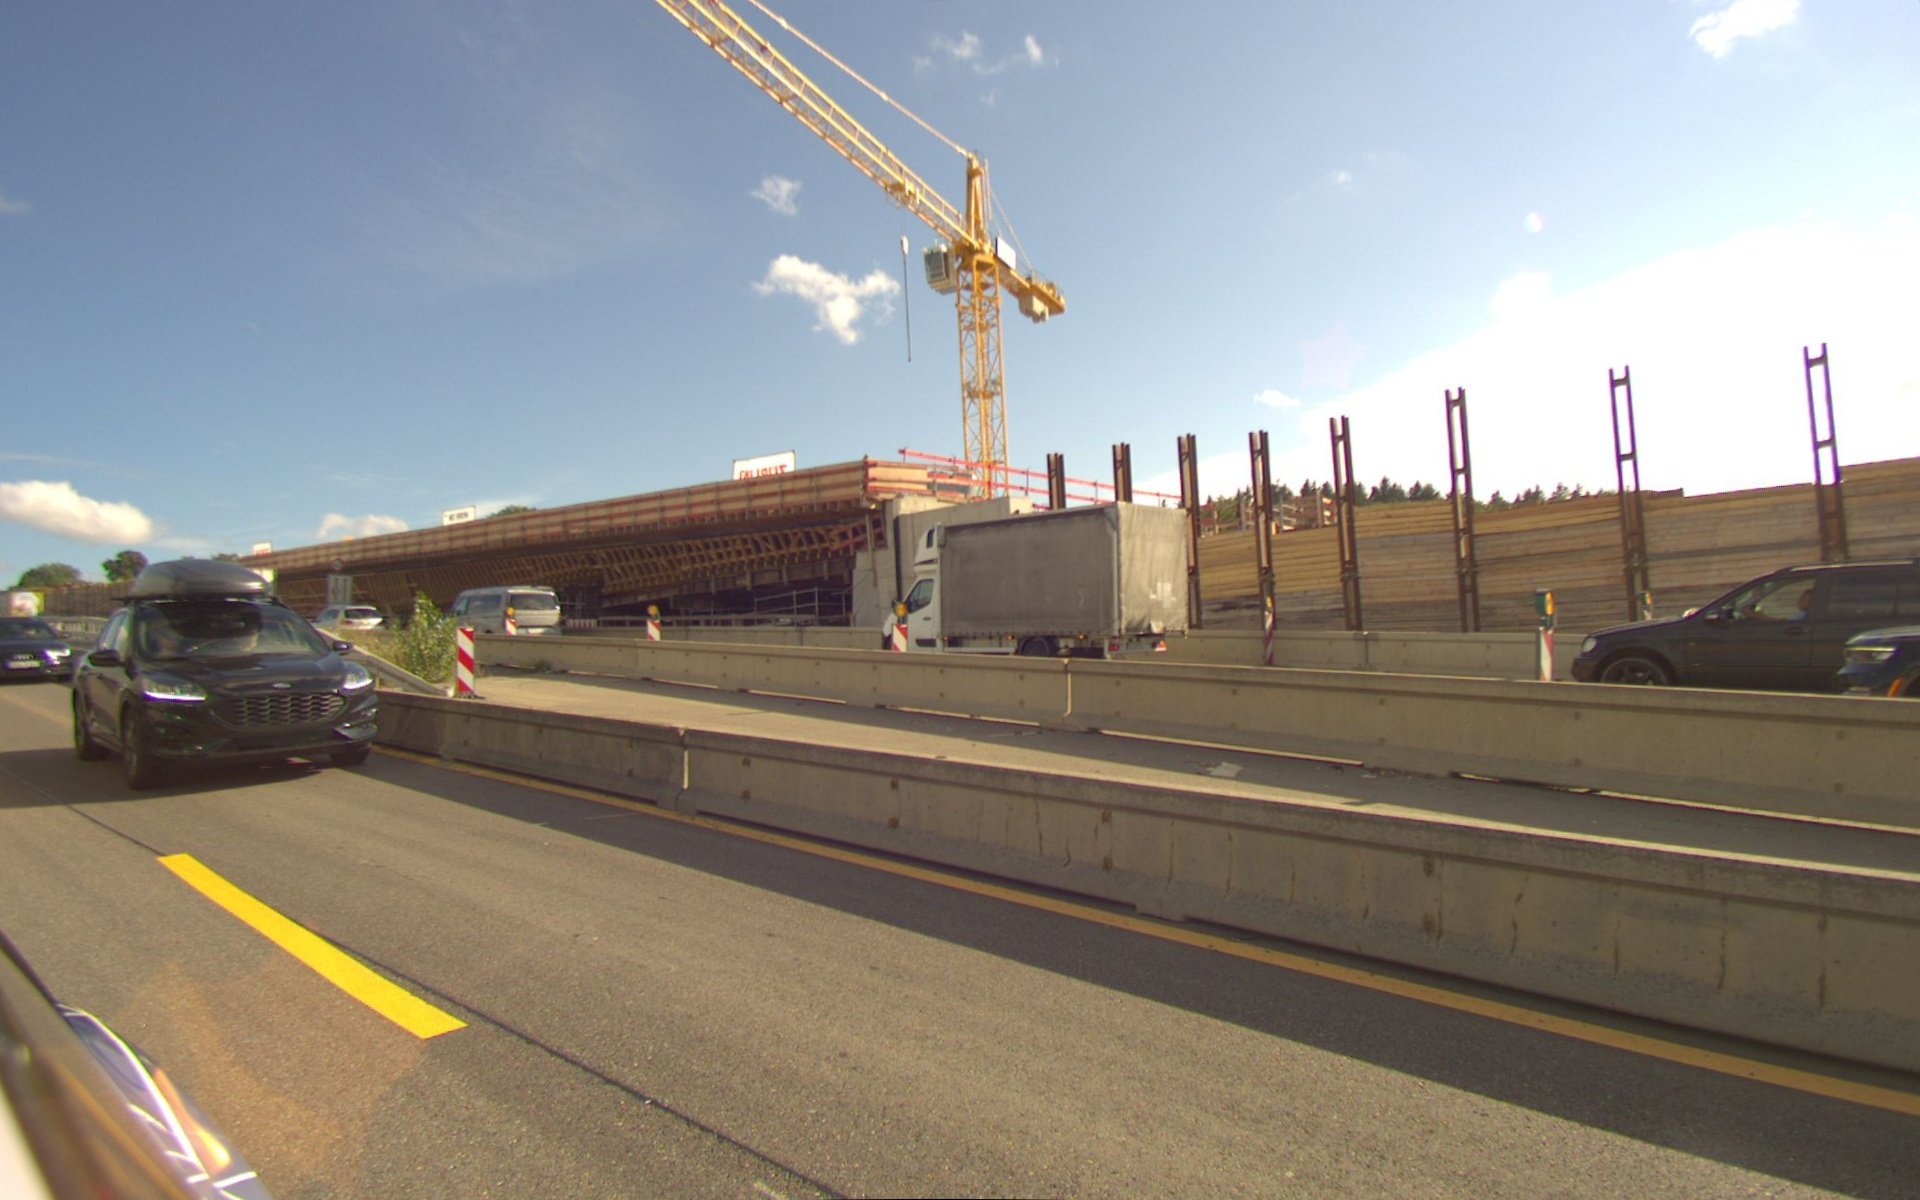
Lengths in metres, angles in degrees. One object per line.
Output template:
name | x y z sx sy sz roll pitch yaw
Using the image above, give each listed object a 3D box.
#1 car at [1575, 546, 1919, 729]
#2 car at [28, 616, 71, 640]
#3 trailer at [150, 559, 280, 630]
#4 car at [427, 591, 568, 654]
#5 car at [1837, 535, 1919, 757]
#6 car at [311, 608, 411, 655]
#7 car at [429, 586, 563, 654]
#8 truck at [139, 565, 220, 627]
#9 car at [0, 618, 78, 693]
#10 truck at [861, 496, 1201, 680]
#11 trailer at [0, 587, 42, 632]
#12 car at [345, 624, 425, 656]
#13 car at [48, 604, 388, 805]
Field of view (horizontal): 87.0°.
car | 9.693 0.360 11.296 1.969 1.817 4.451 -1 1 -41
car | -68.869 2.085 76.559 4.121 1.739 1.972 0 0 42
trailer | -44.953 -0.302 60.801 13.786 3.870 2.794 0 0 38
car | -14.507 0.712 31.608 5.028 1.779 2.104 -2 0 41
car | 9.121 0.276 6.772 1.831 1.648 4.752 -1 -1 -44
car | -23.561 1.220 39.747 4.270 1.686 2.104 -2 0 41
car | -17.935 0.713 38.991 5.858 2.420 2.237 0 0 38
truck | -50.088 -0.257 64.874 6.011 3.817 2.750 0 0 39
car | -21.229 1.186 22.632 4.507 1.441 1.922 0 1 44
truck | 1.247 -0.219 21.990 2.669 3.336 7.544 -1 0 -44
trailer | -93.887 0.896 100.273 13.803 4.187 2.660 0 0 41
car | -26.321 1.788 46.295 3.996 1.282 1.901 0 0 39
car | -7.449 0.872 9.980 4.382 1.554 1.781 -2 -1 41
